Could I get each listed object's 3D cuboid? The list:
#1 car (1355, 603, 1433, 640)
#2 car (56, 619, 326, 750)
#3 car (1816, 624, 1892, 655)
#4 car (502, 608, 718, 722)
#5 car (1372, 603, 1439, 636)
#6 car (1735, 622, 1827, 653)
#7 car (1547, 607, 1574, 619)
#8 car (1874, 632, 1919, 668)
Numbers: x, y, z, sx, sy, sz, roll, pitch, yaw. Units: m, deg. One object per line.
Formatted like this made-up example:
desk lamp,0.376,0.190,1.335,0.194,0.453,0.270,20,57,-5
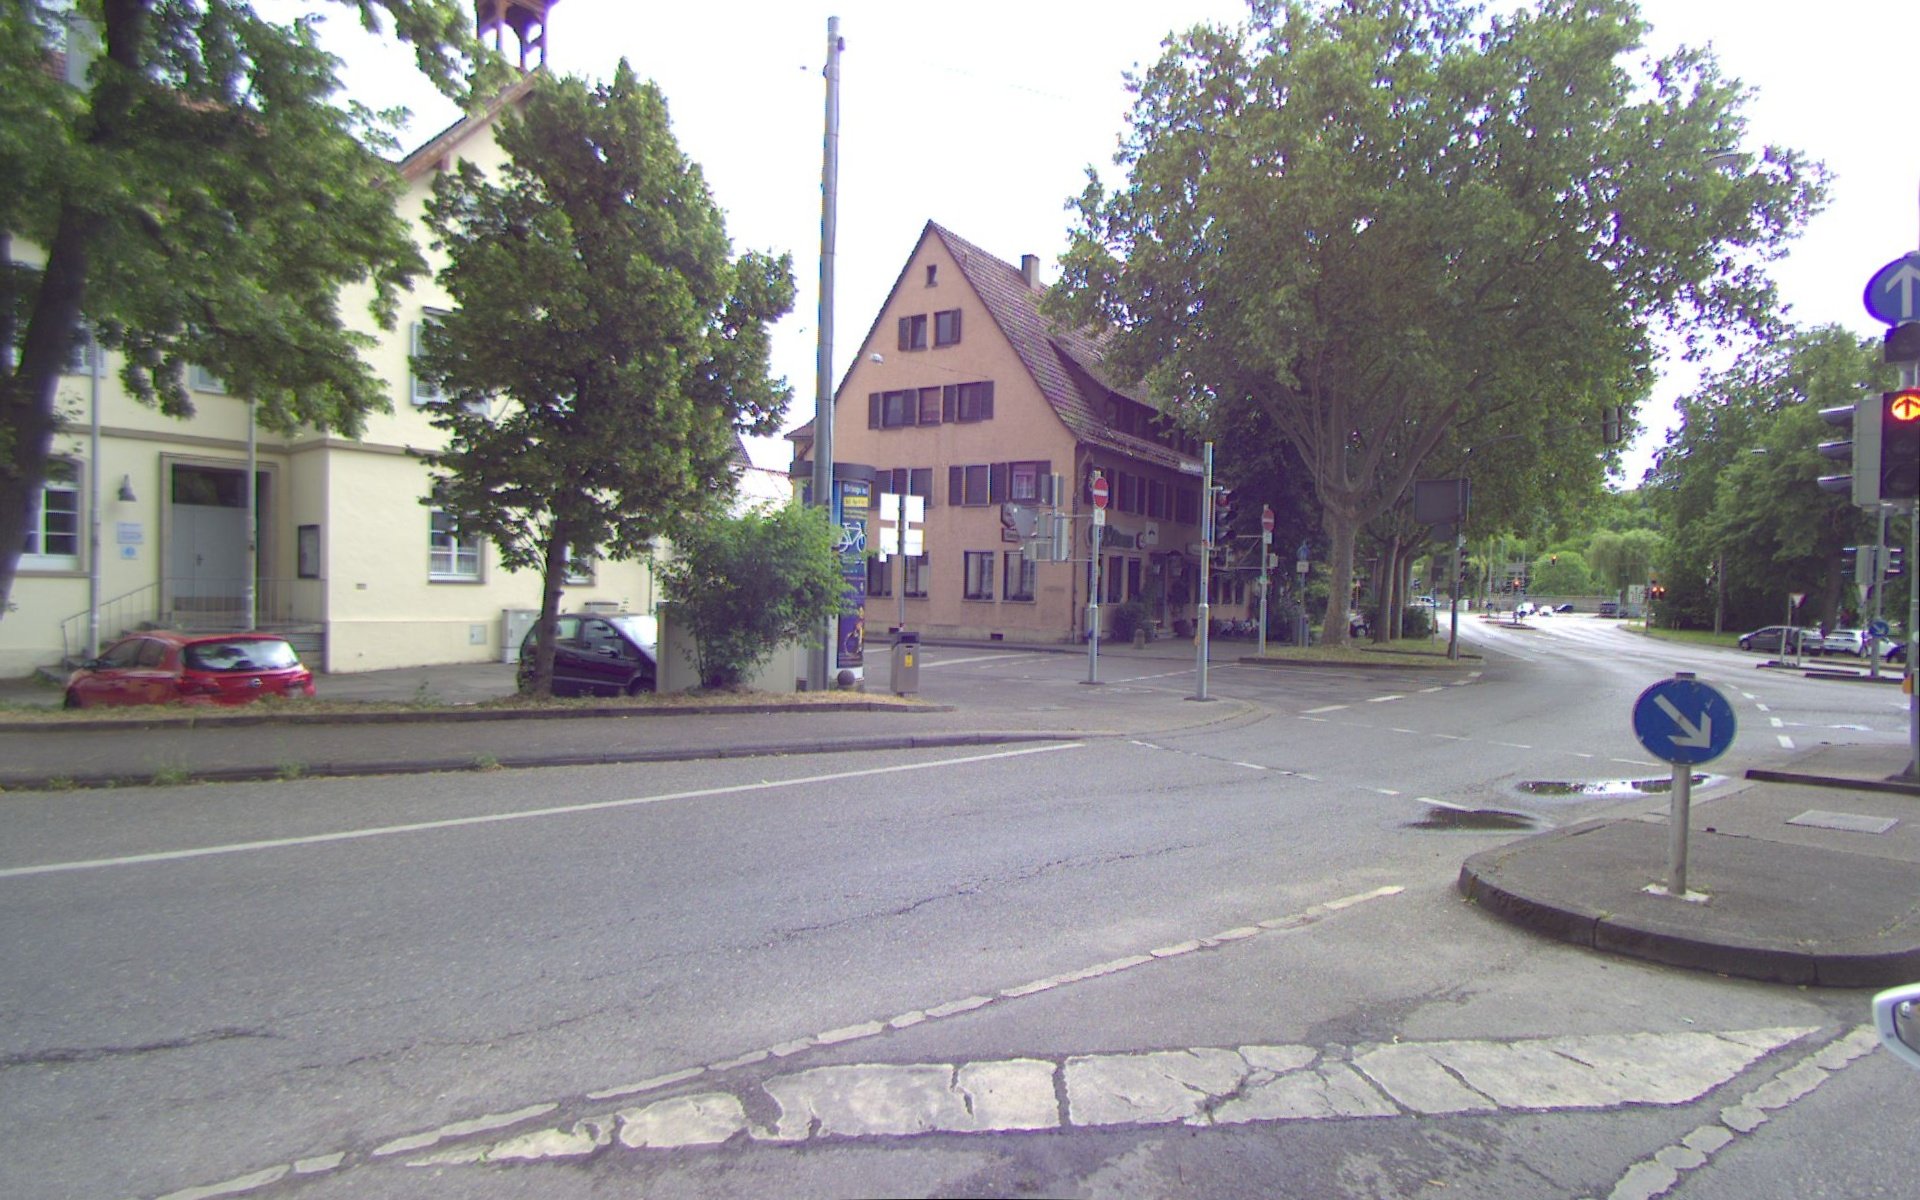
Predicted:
car,21.414,1.050,49.589,3.387,1.663,1.570,2,0,28
car,-10.171,1.012,13.254,3.492,1.397,1.605,2,0,30
car,47.308,2.085,53.166,3.342,1.484,1.543,2,0,-19
car,-5.760,1.006,16.601,3.035,1.654,1.607,2,0,22
car,25.476,1.089,57.473,3.387,1.765,1.570,2,0,28
car,43.869,1.971,53.766,1.559,1.484,3.543,2,0,-17
car,108.241,2.330,181.093,3.928,2.040,1.996,2,0,30
car,39.575,2.080,40.950,1.442,1.412,3.596,2,0,3
